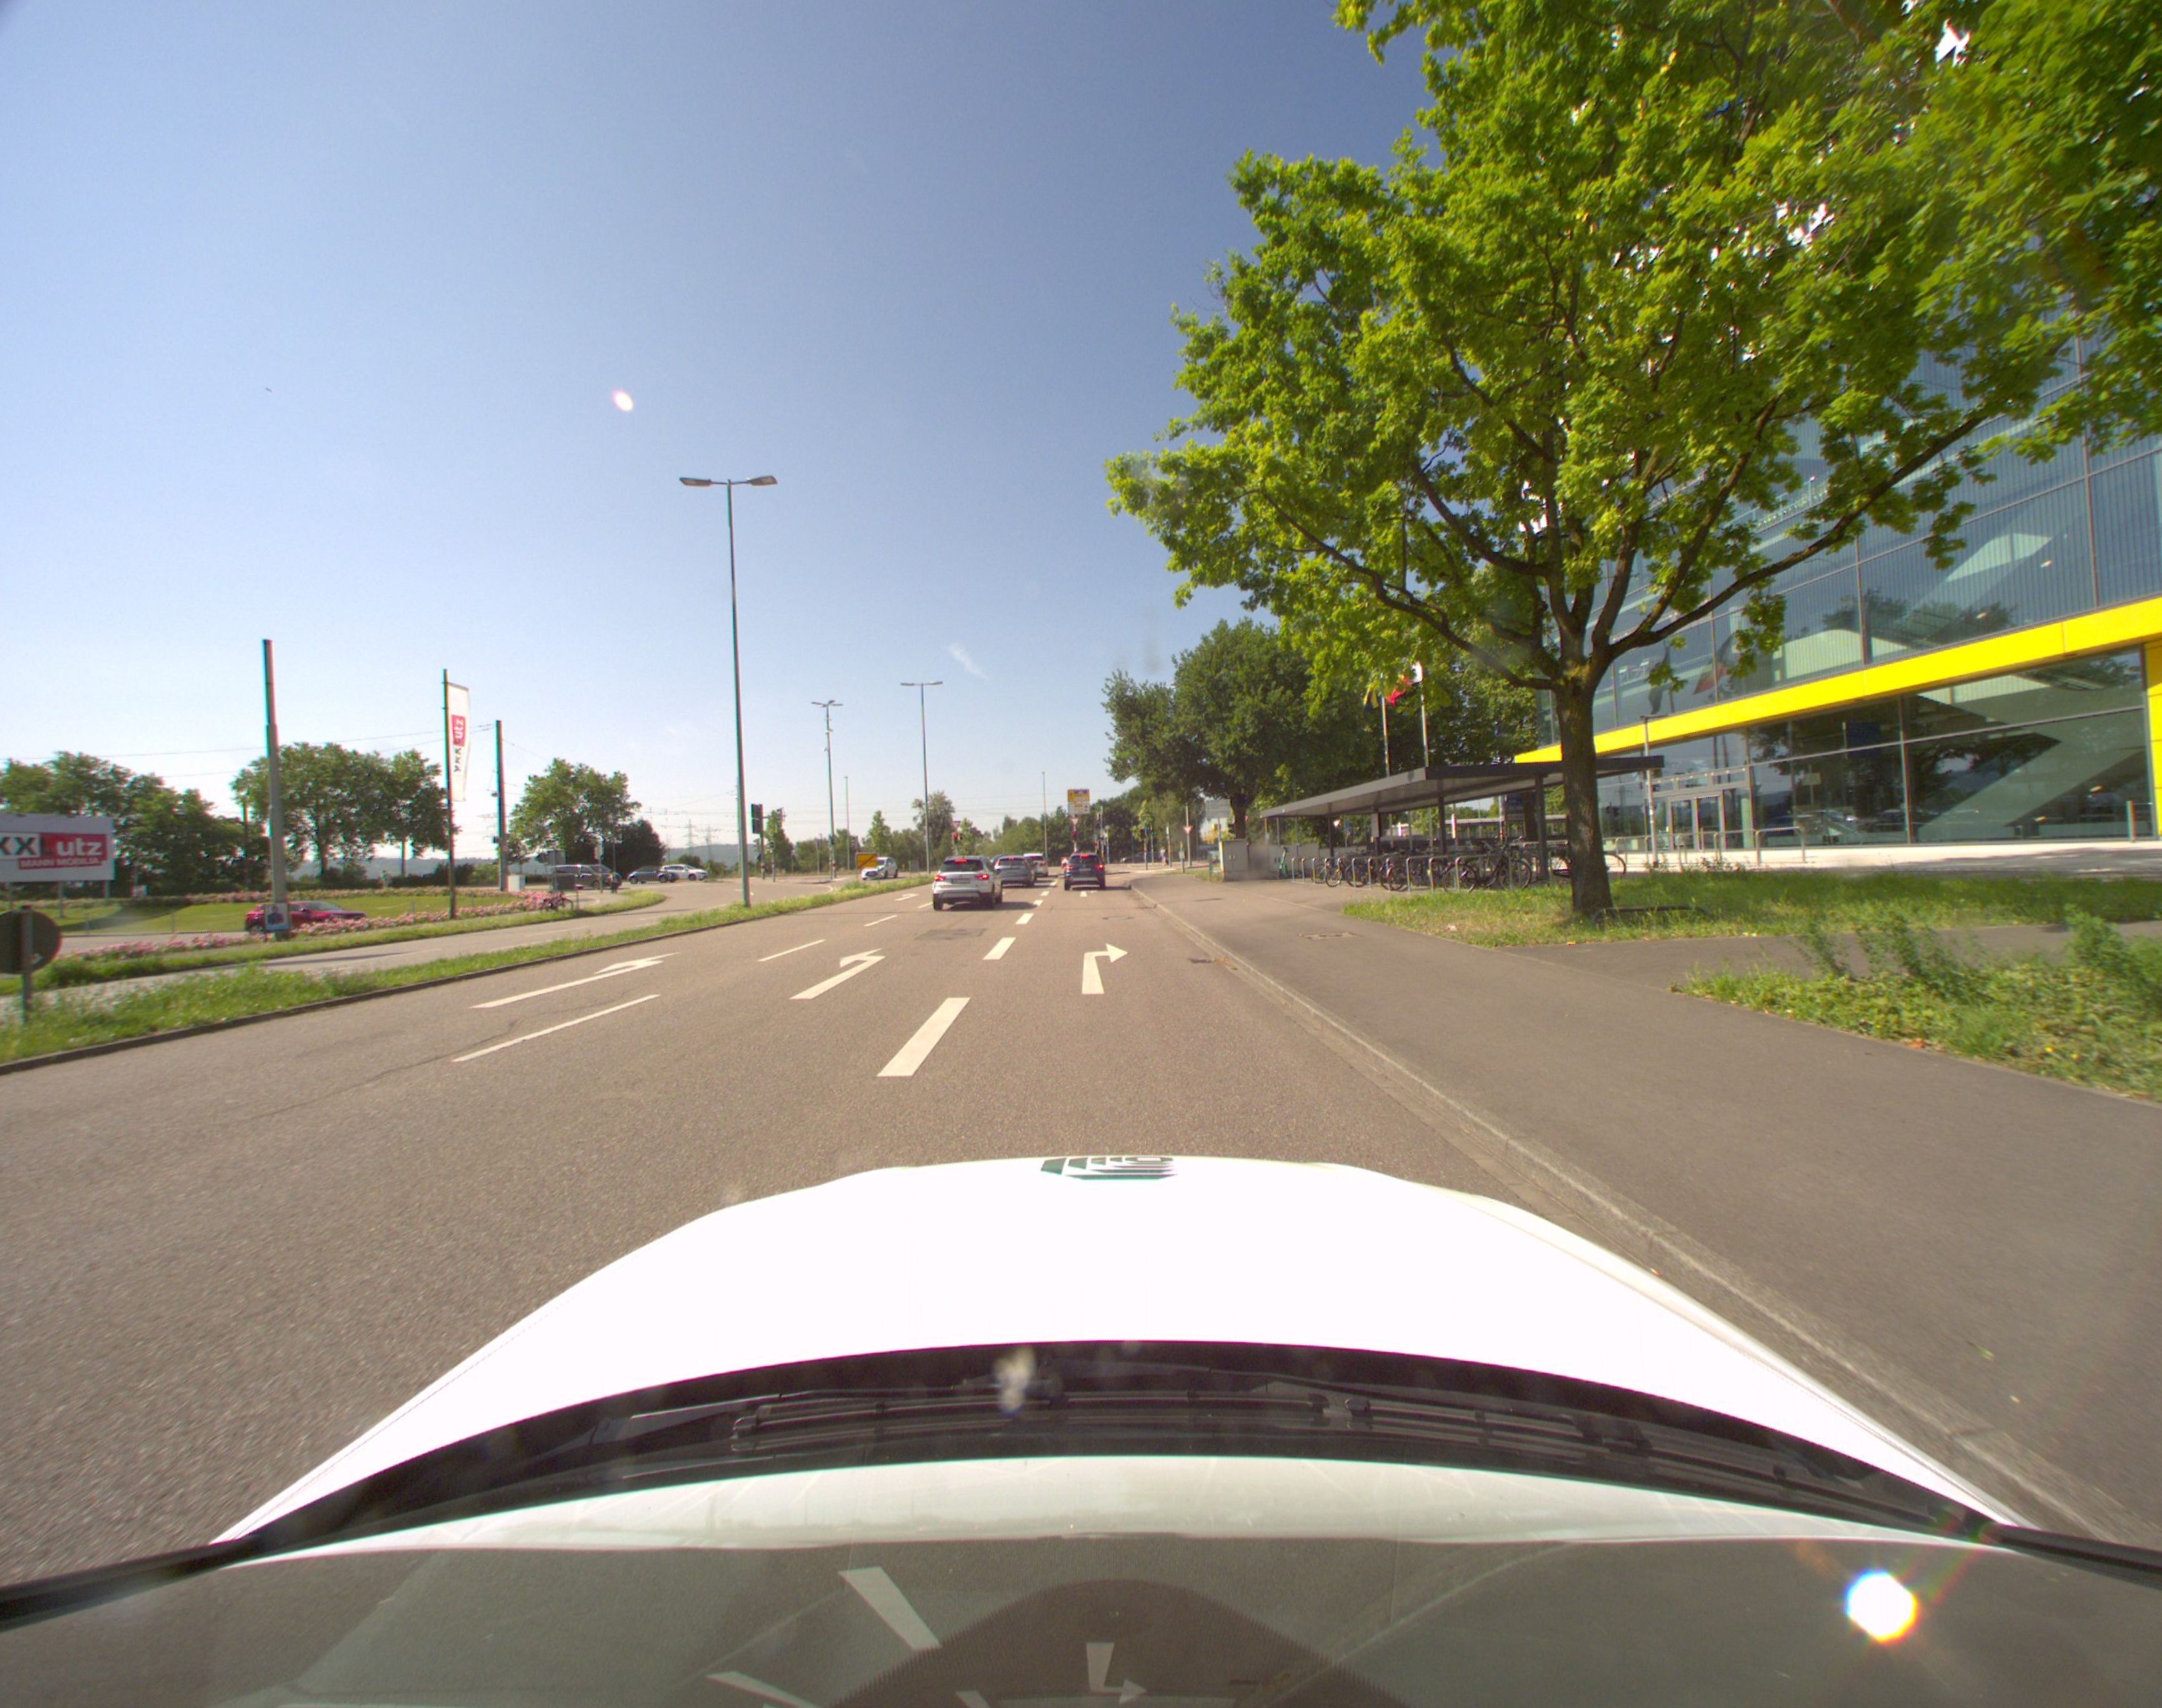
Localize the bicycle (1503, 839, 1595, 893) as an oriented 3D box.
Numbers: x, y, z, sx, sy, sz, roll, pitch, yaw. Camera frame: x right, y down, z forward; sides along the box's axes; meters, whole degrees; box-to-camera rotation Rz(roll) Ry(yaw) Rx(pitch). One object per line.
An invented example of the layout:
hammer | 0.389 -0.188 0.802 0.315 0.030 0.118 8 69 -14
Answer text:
bicycle | 10.420 0.271 18.160 1.753 1.096 0.452 -3 0 -1

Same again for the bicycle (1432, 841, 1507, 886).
bicycle | 10.376 0.252 21.786 1.753 1.096 0.452 -3 0 -1

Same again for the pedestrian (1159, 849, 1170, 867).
pedestrian | 7.098 0.329 69.488 0.768 1.510 1.010 -3 1 11

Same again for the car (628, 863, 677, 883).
car | -36.510 1.619 69.394 3.378 1.500 1.408 -3 -2 -3

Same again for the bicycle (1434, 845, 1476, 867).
bicycle | 15.940 0.088 34.699 1.556 0.843 0.434 -3 0 1

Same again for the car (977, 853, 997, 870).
car | -10.014 0.788 86.988 1.622 1.624 3.917 -3 1 0

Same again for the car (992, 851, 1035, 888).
car | -3.126 0.670 38.256 1.701 1.573 4.171 -2 0 -2

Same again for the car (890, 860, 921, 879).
car | -10.241 0.901 47.612 1.113 1.004 2.493 -3 0 2

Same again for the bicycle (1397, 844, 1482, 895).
bicycle | 8.485 0.355 19.303 1.753 1.096 0.452 -3 0 -1

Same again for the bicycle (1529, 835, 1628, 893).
bicycle | 10.431 0.208 17.097 1.753 1.096 0.452 -3 0 -1

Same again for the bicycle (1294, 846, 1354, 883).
bicycle | 7.934 0.351 26.603 1.753 1.096 0.452 -3 0 -1

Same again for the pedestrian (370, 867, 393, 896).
pedestrian | -48.145 1.895 56.042 0.713 1.972 0.919 -3 -2 4

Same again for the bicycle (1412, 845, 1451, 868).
bicycle | 15.914 0.114 37.002 1.556 0.995 0.434 -3 0 1

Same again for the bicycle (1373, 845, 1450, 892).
bicycle | 8.479 0.373 20.894 1.753 1.096 0.452 -3 0 -1

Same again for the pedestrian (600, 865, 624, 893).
pedestrian | -30.750 1.639 53.391 0.834 1.707 0.908 -3 0 12

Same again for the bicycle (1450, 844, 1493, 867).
bicycle | 15.979 0.051 33.342 1.557 0.843 0.433 -3 0 -1

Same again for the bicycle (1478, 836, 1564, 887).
bicycle | 10.381 0.179 19.233 1.753 1.096 0.452 -3 0 -1

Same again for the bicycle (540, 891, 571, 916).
bicycle | -22.646 2.134 35.137 0.330 1.023 1.641 -4 -2 -3

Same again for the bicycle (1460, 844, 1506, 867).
bicycle | 15.992 0.073 32.417 1.556 0.843 0.434 -3 0 1

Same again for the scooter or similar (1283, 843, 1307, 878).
scooter or similar | 8.277 0.250 31.456 0.775 1.265 0.283 -3 0 -3

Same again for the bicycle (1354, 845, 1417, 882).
bicycle | 9.905 0.298 26.505 1.823 1.096 0.452 -3 0 -1

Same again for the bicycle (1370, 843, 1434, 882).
bicycle | 9.924 0.261 25.190 1.753 1.096 0.452 -3 0 -1

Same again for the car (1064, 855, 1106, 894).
car | 0.181 0.812 34.467 1.664 1.523 3.377 -2 0 1

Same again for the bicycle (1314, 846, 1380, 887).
bicycle | 7.893 0.369 24.180 1.753 1.096 0.452 -3 0 -1

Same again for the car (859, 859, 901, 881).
car | -15.137 1.210 61.400 1.785 1.547 4.092 -2 -1 5

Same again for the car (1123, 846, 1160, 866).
car | 6.829 0.273 92.586 3.973 2.014 2.000 -3 -2 1

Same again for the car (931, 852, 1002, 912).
car | -3.341 0.769 24.388 1.626 1.498 3.868 -2 2 -2

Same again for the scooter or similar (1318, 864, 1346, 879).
scooter or similar | 9.107 0.631 29.506 0.908 0.451 0.966 -5 -2 20

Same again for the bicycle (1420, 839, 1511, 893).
bicycle | 8.479 0.259 18.004 1.753 1.096 0.463 -3 0 -1

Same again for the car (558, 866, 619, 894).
car | -37.008 1.950 61.243 3.953 1.925 1.826 -1 1 21

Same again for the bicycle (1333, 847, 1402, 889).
bicycle | 8.095 0.386 23.014 1.753 1.096 0.452 -3 0 -1

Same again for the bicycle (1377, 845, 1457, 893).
bicycle | 8.340 0.369 20.230 1.753 1.096 0.452 -3 0 -1

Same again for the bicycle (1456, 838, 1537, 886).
bicycle | 10.382 0.194 20.360 1.753 1.096 0.452 -3 0 -1

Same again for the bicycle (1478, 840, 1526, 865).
bicycle | 15.985 -0.052 30.901 1.556 0.843 0.434 -3 0 1

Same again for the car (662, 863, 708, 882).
car | -35.320 1.627 72.619 3.337 1.500 1.407 -2 -2 -5

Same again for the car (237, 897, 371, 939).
car | -35.383 2.882 37.184 4.176 1.605 1.823 -2 -2 -5

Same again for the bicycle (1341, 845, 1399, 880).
bicycle | 9.844 0.291 27.755 1.753 1.096 0.452 -3 0 -1

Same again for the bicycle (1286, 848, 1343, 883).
bicycle | 7.915 0.380 27.602 1.753 1.096 0.452 -3 0 -1

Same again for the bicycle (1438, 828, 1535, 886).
bicycle | 8.429 0.068 16.947 1.753 1.096 0.452 -3 -1 -1

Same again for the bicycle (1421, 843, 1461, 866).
bicycle | 15.912 0.017 36.017 1.556 0.910 0.434 -3 0 1

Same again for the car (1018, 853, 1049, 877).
car | -3.054 0.703 53.106 1.736 1.448 4.388 -2 0 0
